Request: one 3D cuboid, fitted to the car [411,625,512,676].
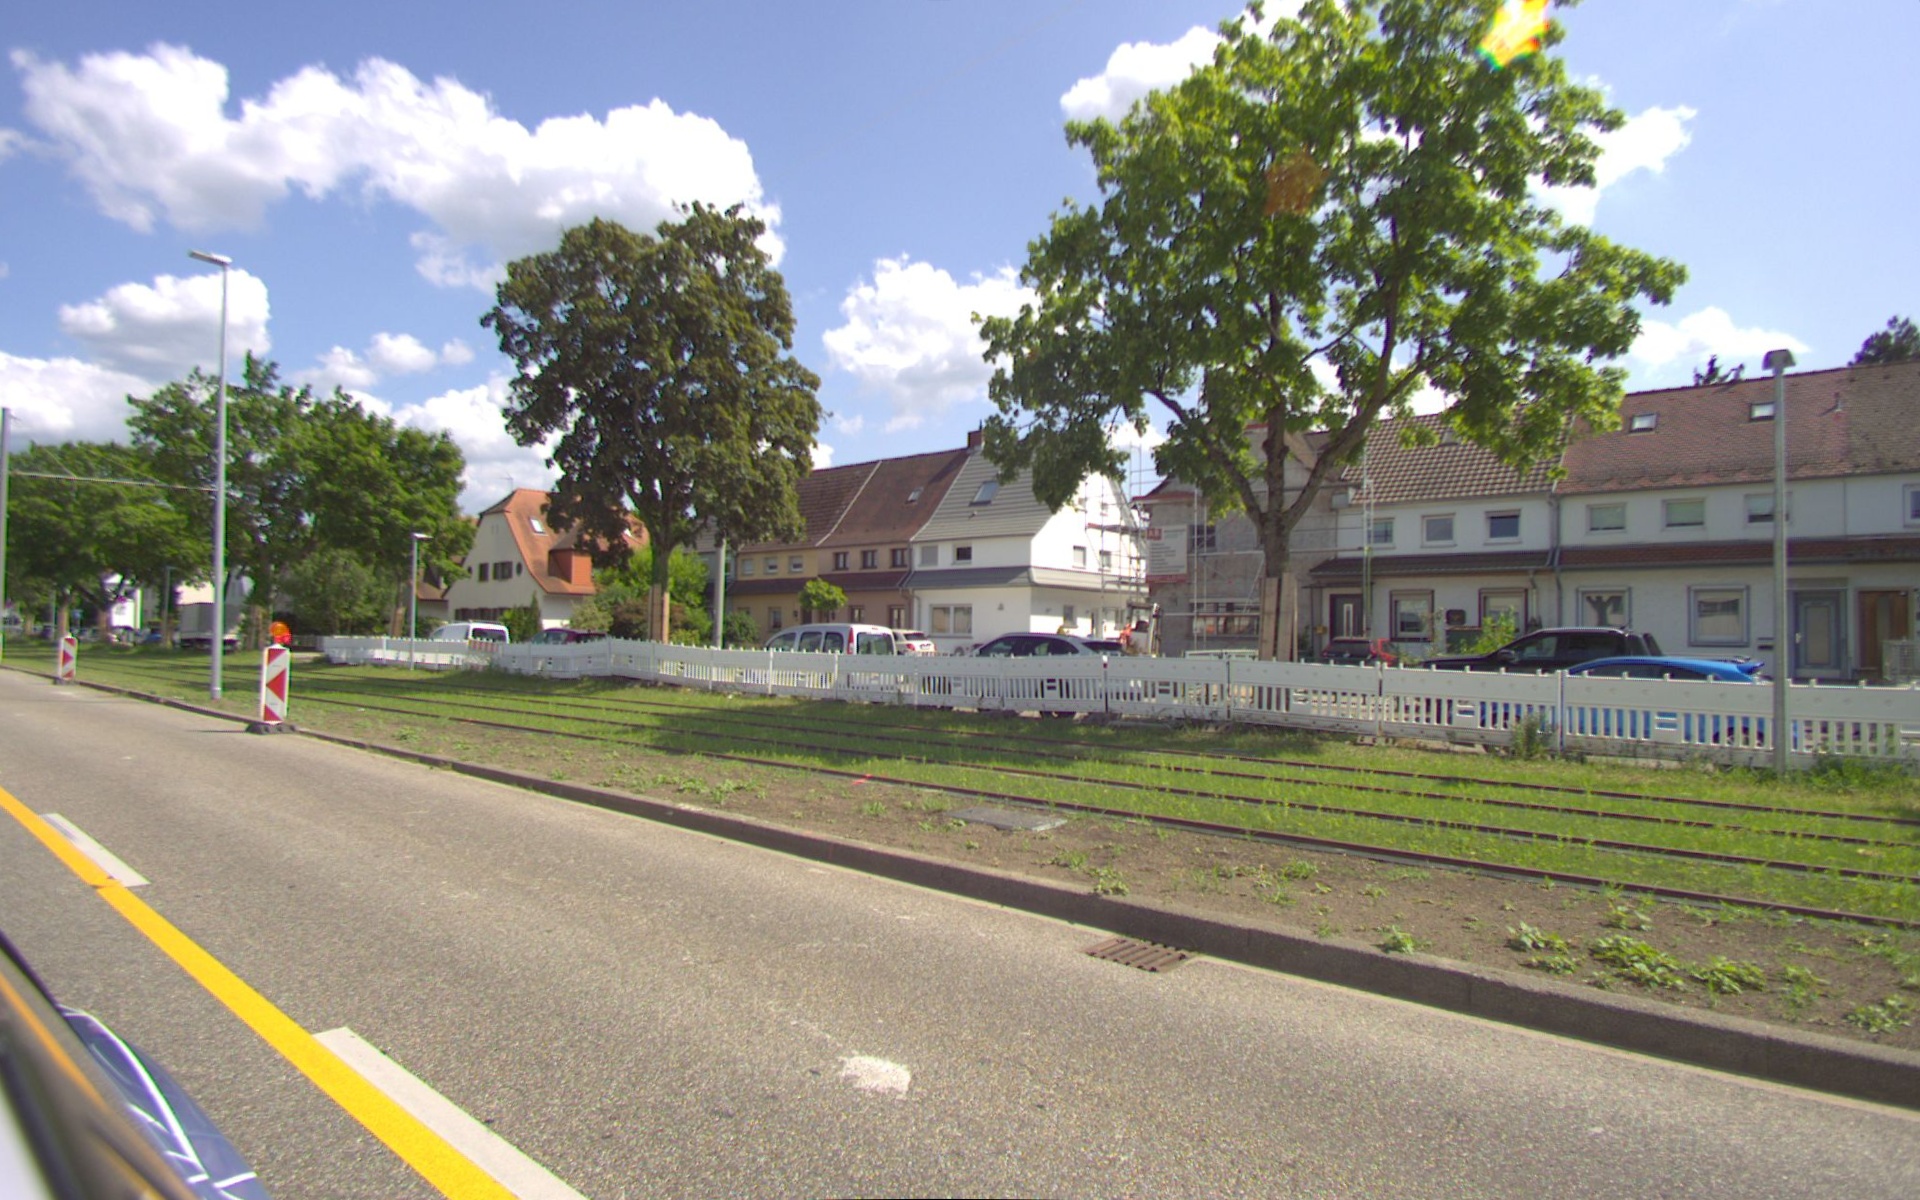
[{"bbox_3d":[-17.322,1.736,35.106,3.998,1.638,1.636,-1,-4,40],"label":"car"}]

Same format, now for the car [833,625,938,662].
[{"bbox_3d":[-2.902,1.664,38.838,4.118,1.285,1.518,-1,-4,41],"label":"car"}]

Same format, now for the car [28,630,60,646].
[{"bbox_3d":[-80.144,3.315,88.556,3.997,1.311,1.616,-1,-1,41],"label":"car"}]

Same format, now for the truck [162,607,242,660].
[{"bbox_3d":[-42.110,1.800,56.182,5.947,2.826,2.340,-1,-1,41],"label":"truck"}]

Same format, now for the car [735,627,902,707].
[{"bbox_3d":[-3.319,1.496,23.384,3.896,1.664,1.606,-1,-4,40],"label":"car"}]

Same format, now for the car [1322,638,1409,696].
[{"bbox_3d":[10.929,1.754,27.214,1.286,1.390,2.776,-1,-1,43],"label":"car"}]

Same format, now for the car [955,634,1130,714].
[{"bbox_3d":[1.525,1.371,19.181,3.112,1.388,1.336,-2,-5,40],"label":"car"}]

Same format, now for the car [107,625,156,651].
[{"bbox_3d":[-50.900,2.298,62.182,3.928,1.524,1.651,-1,-1,40],"label":"car"}]

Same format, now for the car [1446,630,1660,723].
[{"bbox_3d":[10.484,1.299,17.993,3.091,1.506,1.342,-1,-3,40],"label":"car"}]

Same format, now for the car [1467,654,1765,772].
[{"bbox_3d":[8.588,1.406,13.385,3.166,1.335,1.327,-1,-3,38],"label":"car"}]

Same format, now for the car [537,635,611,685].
[{"bbox_3d":[-11.410,1.758,29.907,2.449,1.358,1.060,-1,-4,44],"label":"car"}]

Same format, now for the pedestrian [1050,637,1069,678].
[{"bbox_3d":[3.374,1.940,34.254,0.470,1.386,0.418,-1,-1,40],"label":"pedestrian"}]
